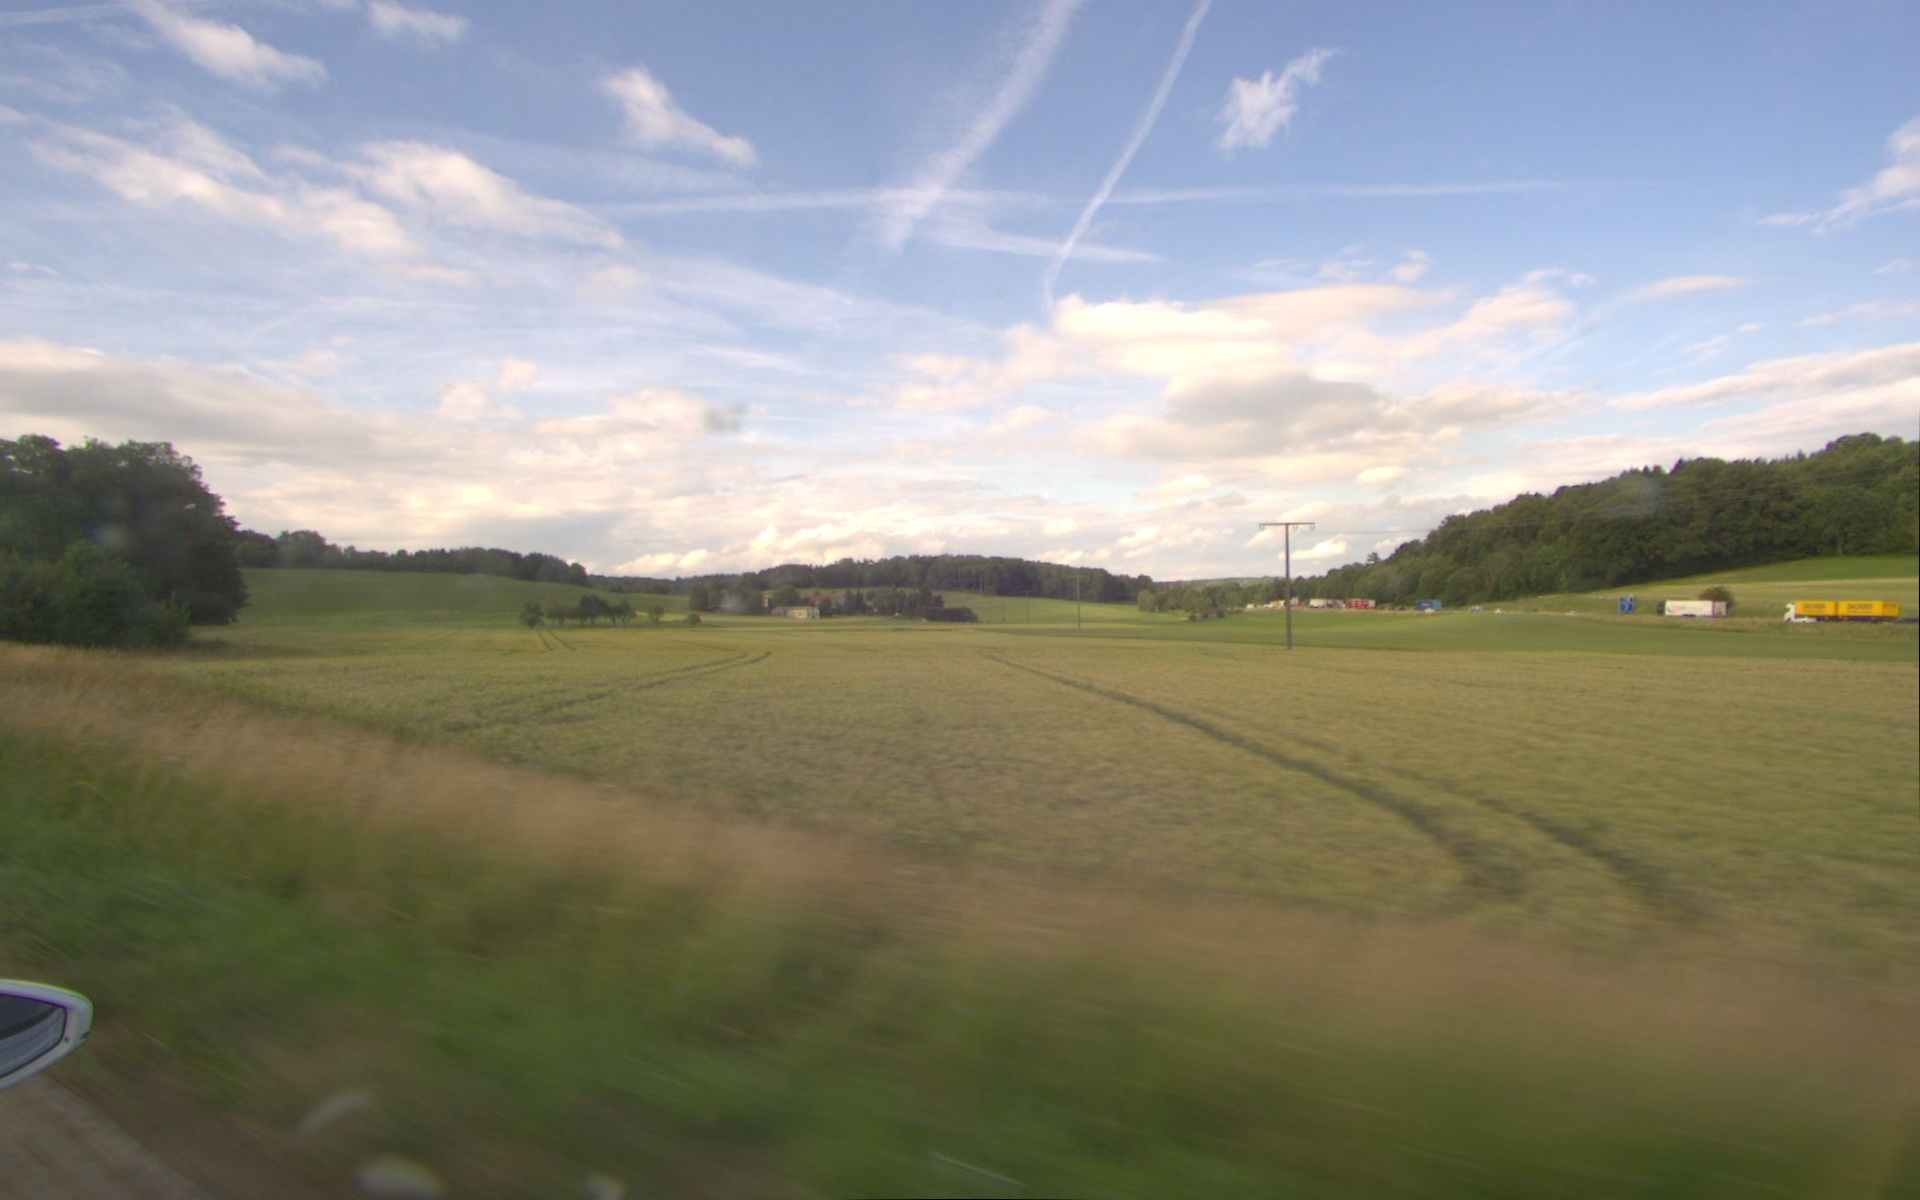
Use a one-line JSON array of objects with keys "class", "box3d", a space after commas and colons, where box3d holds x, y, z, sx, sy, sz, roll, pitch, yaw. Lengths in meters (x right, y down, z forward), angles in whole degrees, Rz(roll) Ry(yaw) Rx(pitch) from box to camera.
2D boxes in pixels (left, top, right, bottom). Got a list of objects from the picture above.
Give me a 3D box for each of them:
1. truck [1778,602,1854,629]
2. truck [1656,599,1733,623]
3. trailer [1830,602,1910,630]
[{"class": "truck", "box3d": [141.998, 2.562, 166.299, 3.763, 4.113, 9.801, -4, 0, -3]}, {"class": "truck", "box3d": [143.321, 2.012, 195.736, 4.001, 4.049, 14.420, -5, 0, -1]}, {"class": "trailer", "box3d": [142.474, 2.478, 156.899, 3.763, 4.113, 9.128, -4, 0, -3]}]
